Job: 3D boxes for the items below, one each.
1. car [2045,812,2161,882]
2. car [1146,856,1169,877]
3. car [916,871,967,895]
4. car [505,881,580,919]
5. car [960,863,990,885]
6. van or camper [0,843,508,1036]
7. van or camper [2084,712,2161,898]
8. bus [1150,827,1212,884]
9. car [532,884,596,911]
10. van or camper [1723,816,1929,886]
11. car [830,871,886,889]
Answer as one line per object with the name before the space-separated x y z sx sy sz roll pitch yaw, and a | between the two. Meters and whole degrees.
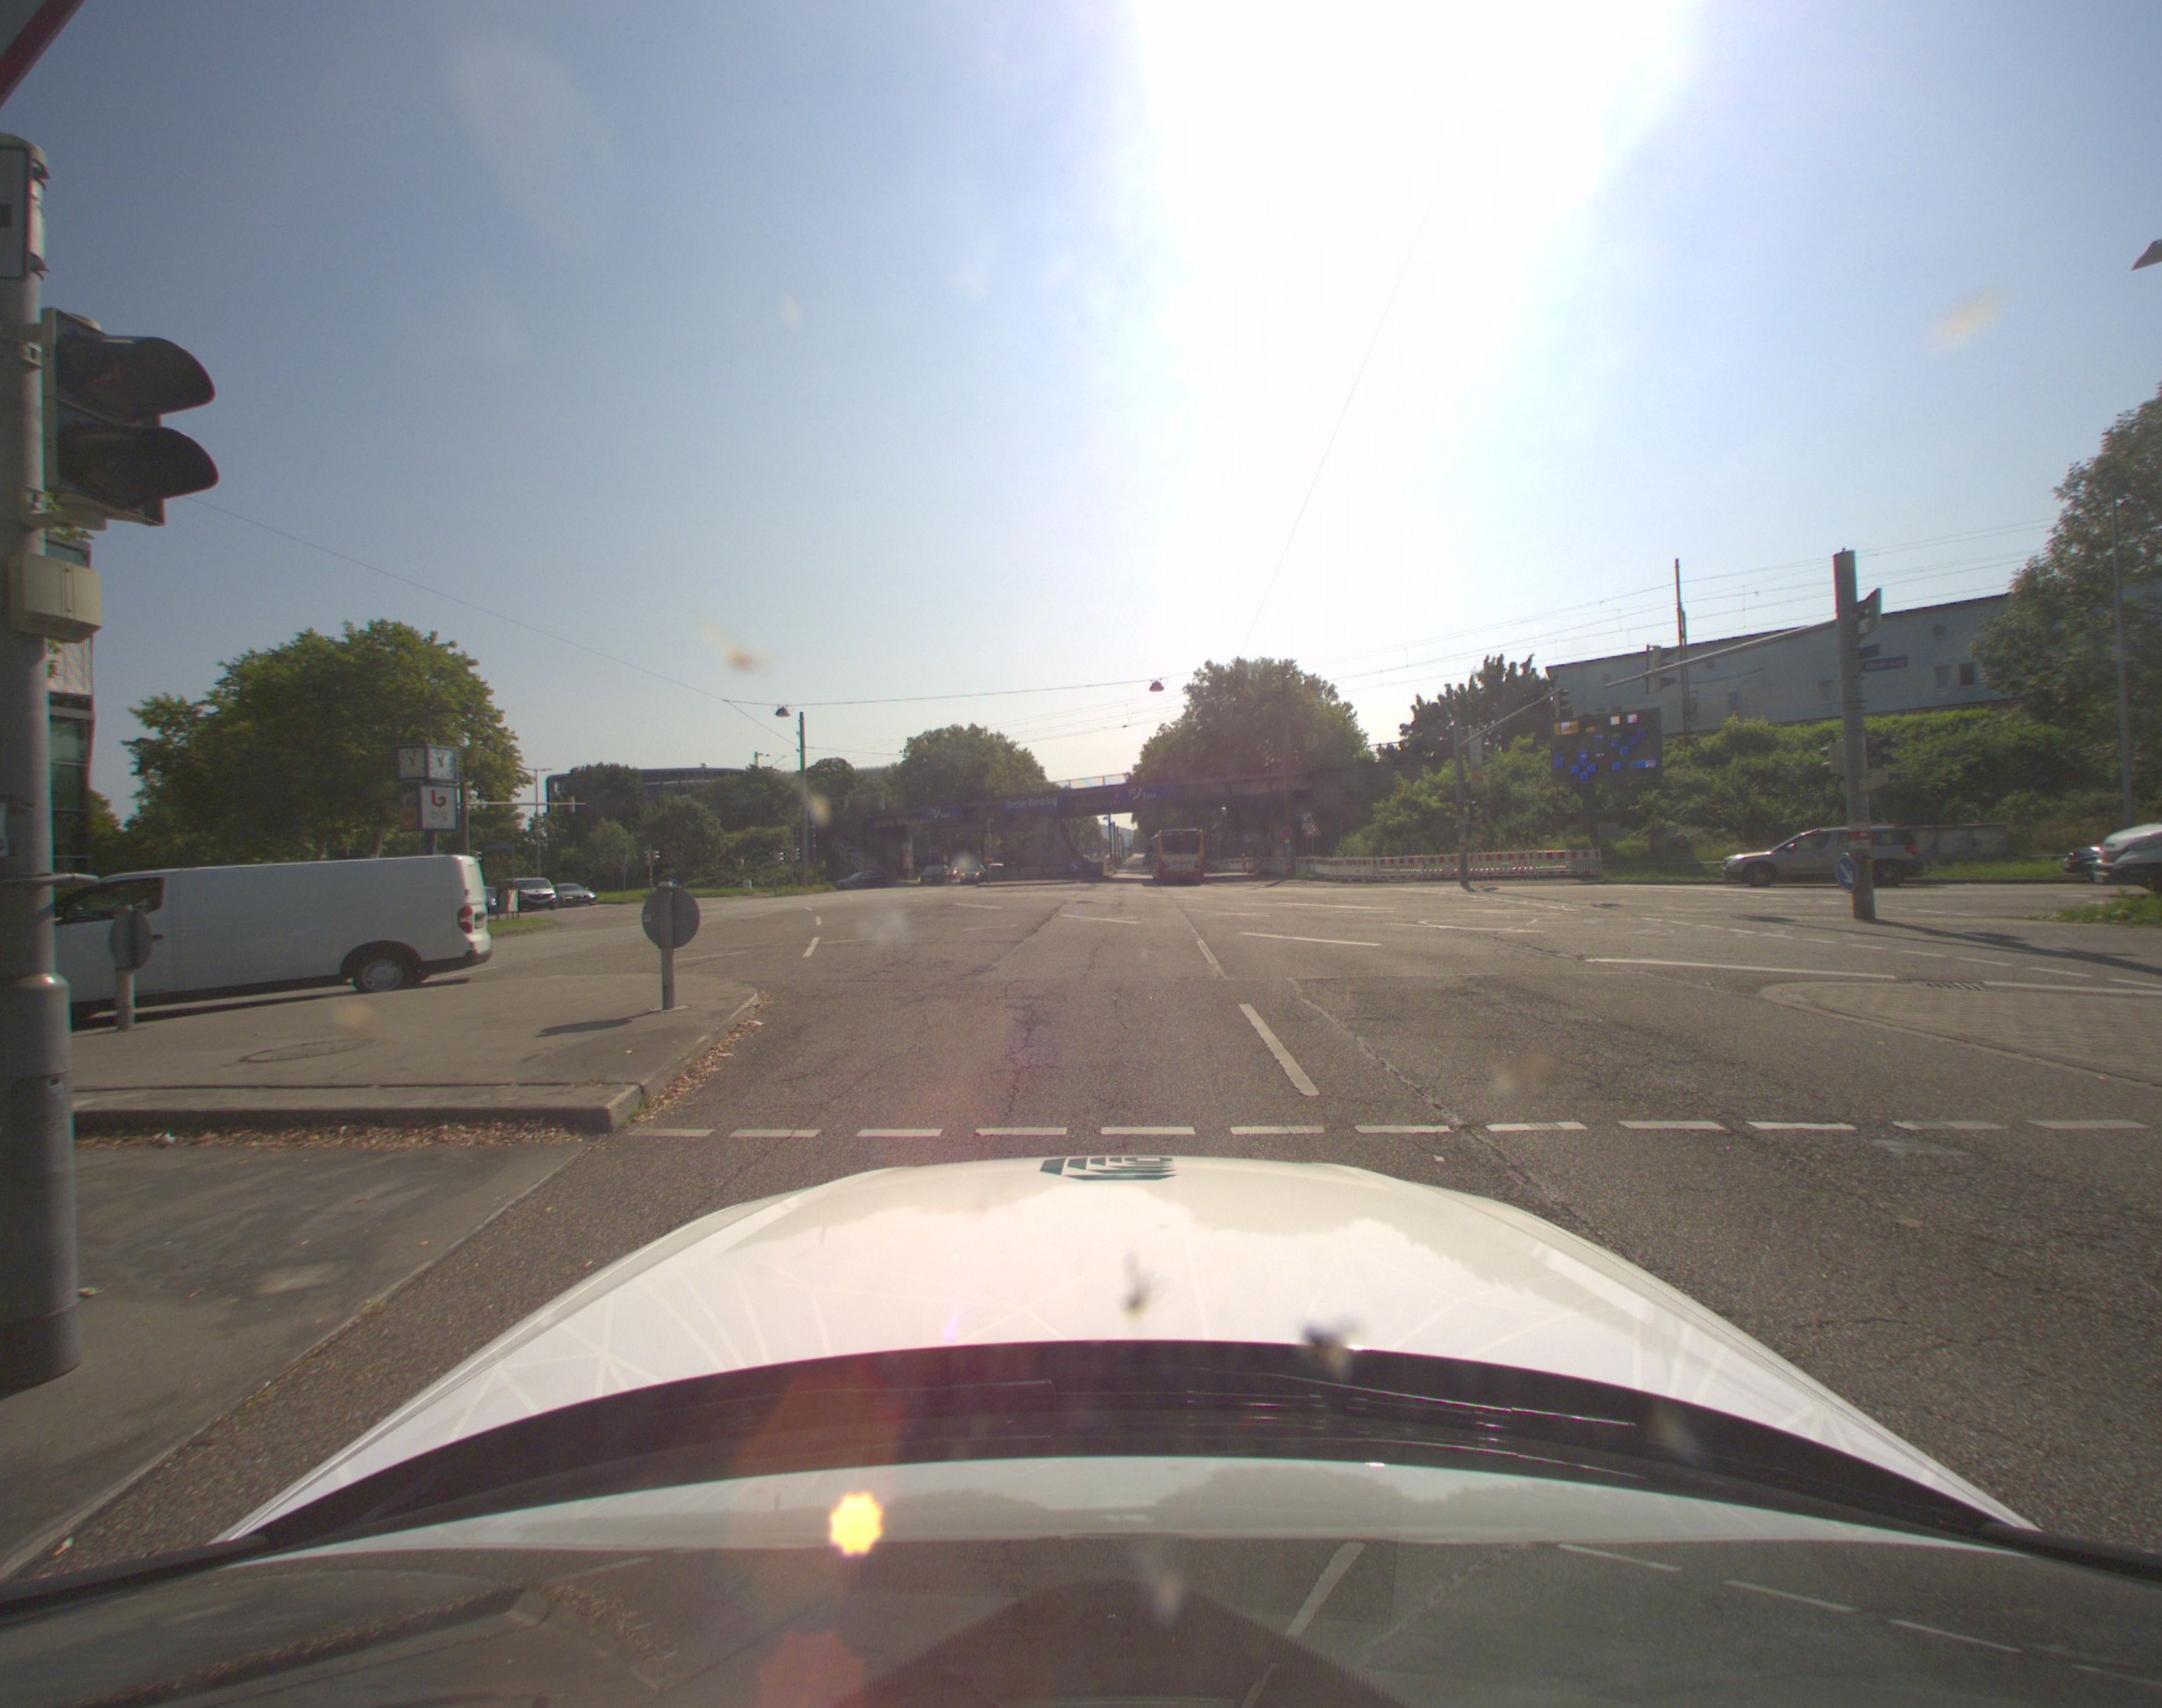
car | 25.643 -0.205 18.811 3.948 1.552 2.013 -3 -3 37
car | 7.689 1.231 81.936 1.987 2.014 4.000 0 -1 1
car | -10.862 2.232 63.705 1.886 1.617 4.496 -4 -1 19
car | -30.548 2.586 46.145 5.145 1.958 1.946 -3 0 37
car | -8.119 1.548 62.576 1.715 1.538 3.695 -3 -1 0
van or camper | -10.981 0.996 11.023 4.960 1.947 1.830 -4 0 -28
van or camper | 22.470 -0.886 13.664 6.763 3.362 2.263 0 -1 41
bus | 5.960 0.137 50.500 3.121 3.113 12.301 0 -1 4
car | -32.140 2.709 50.591 4.546 1.443 1.853 -4 1 37
van or camper | 20.593 -0.054 22.776 4.121 1.776 1.863 0 -1 39
car | -18.092 2.104 66.185 4.022 1.428 1.764 1 -1 -44
